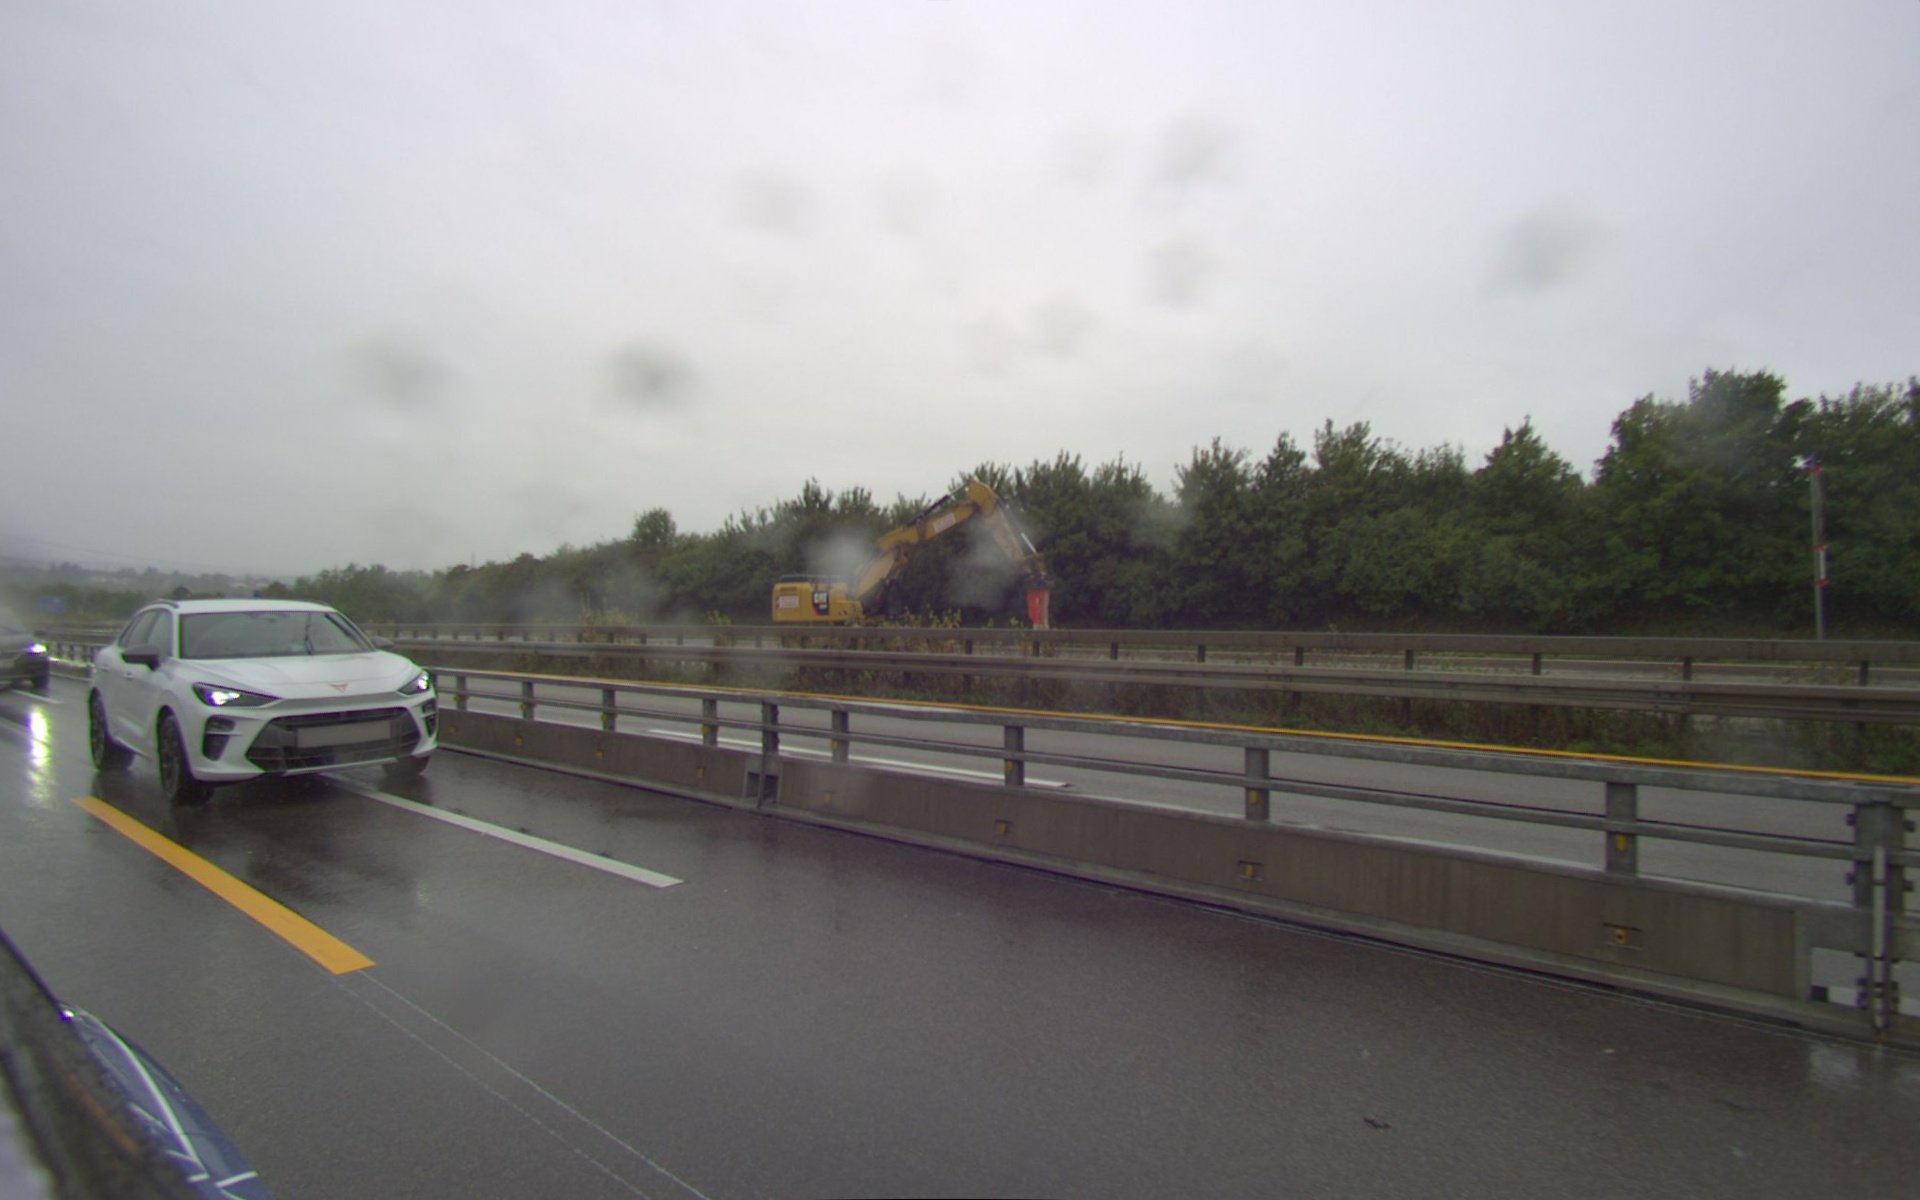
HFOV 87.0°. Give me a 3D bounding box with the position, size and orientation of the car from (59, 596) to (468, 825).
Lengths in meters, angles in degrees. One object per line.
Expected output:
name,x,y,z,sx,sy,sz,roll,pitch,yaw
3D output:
car,-6.591,0.791,9.310,5.004,1.562,1.907,-1,-1,41

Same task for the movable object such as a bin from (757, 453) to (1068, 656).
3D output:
movable object such as a bin,-1.985,-1.335,35.059,11.044,5.959,4.126,-1,1,43

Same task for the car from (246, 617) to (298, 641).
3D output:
car,-58.426,2.439,85.941,5.356,1.981,2.074,-1,-1,37

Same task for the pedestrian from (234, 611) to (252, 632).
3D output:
pedestrian,-70.185,2.114,99.007,1.123,2.029,1.095,-1,0,35

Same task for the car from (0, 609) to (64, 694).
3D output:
car,-20.501,1.027,21.195,5.194,1.640,2.042,-1,-1,42

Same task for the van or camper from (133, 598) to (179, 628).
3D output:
van or camper,-122.454,2.003,154.059,8.490,4.356,3.337,-1,0,36
